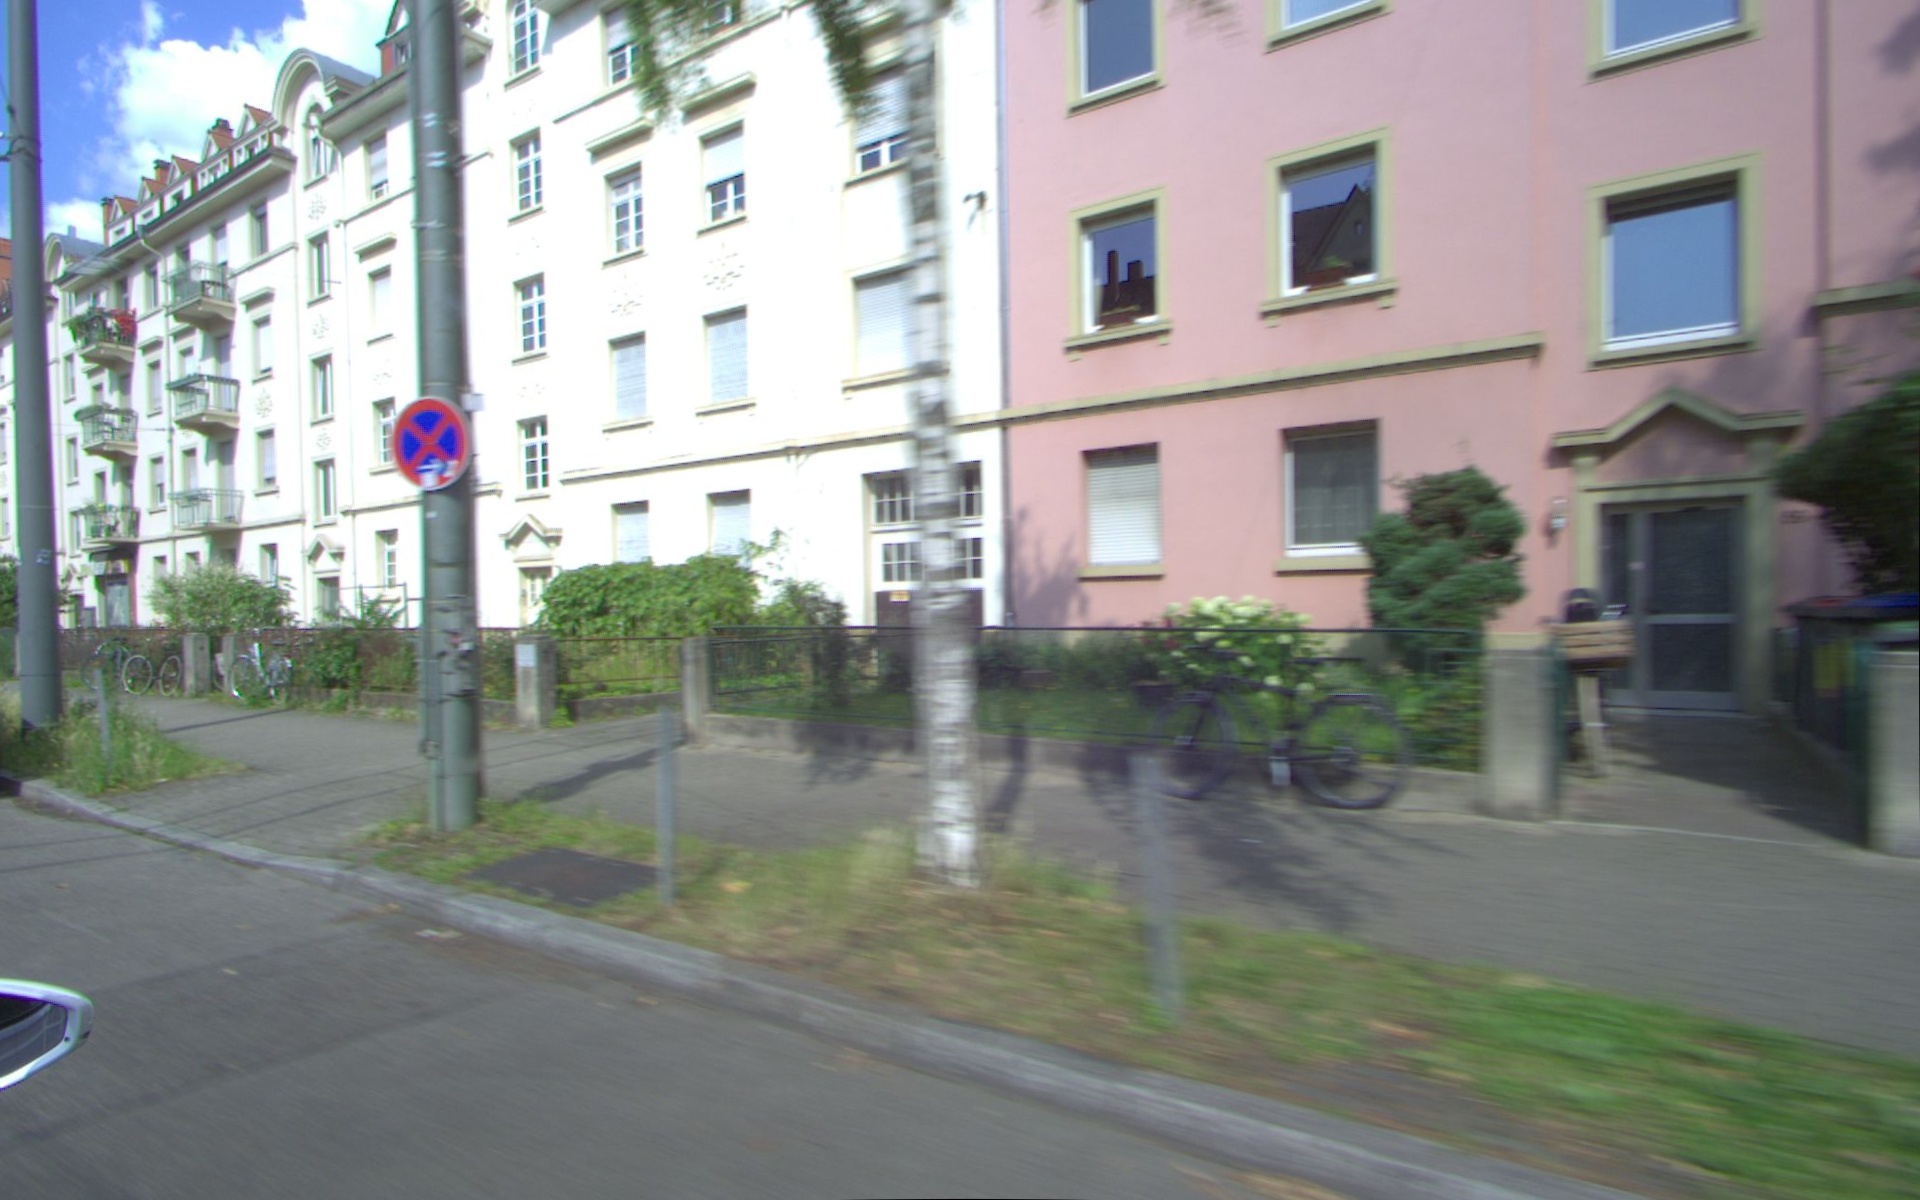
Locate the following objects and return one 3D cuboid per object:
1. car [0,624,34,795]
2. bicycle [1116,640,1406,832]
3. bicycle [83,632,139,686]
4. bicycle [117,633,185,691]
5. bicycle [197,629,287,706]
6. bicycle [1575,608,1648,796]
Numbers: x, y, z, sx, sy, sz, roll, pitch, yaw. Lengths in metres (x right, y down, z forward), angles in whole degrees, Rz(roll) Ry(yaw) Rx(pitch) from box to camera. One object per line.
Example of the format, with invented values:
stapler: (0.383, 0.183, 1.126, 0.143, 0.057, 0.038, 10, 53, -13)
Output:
car: (-10.841, 0.970, 9.675, 4.464, 1.540, 1.788, -1, -3, 34)
bicycle: (1.893, 0.815, 6.459, 1.755, 1.067, 0.418, 0, 1, 36)
bicycle: (-15.973, 1.096, 18.833, 1.564, 0.951, 0.386, 0, 0, 34)
bicycle: (-14.369, 1.087, 17.766, 1.981, 0.956, 0.376, 0, 0, 34)
bicycle: (-11.109, 1.016, 15.472, 2.154, 1.091, 0.470, -1, 1, 36)
bicycle: (4.879, 0.687, 7.510, 0.415, 1.236, 1.768, 0, 0, 33)
